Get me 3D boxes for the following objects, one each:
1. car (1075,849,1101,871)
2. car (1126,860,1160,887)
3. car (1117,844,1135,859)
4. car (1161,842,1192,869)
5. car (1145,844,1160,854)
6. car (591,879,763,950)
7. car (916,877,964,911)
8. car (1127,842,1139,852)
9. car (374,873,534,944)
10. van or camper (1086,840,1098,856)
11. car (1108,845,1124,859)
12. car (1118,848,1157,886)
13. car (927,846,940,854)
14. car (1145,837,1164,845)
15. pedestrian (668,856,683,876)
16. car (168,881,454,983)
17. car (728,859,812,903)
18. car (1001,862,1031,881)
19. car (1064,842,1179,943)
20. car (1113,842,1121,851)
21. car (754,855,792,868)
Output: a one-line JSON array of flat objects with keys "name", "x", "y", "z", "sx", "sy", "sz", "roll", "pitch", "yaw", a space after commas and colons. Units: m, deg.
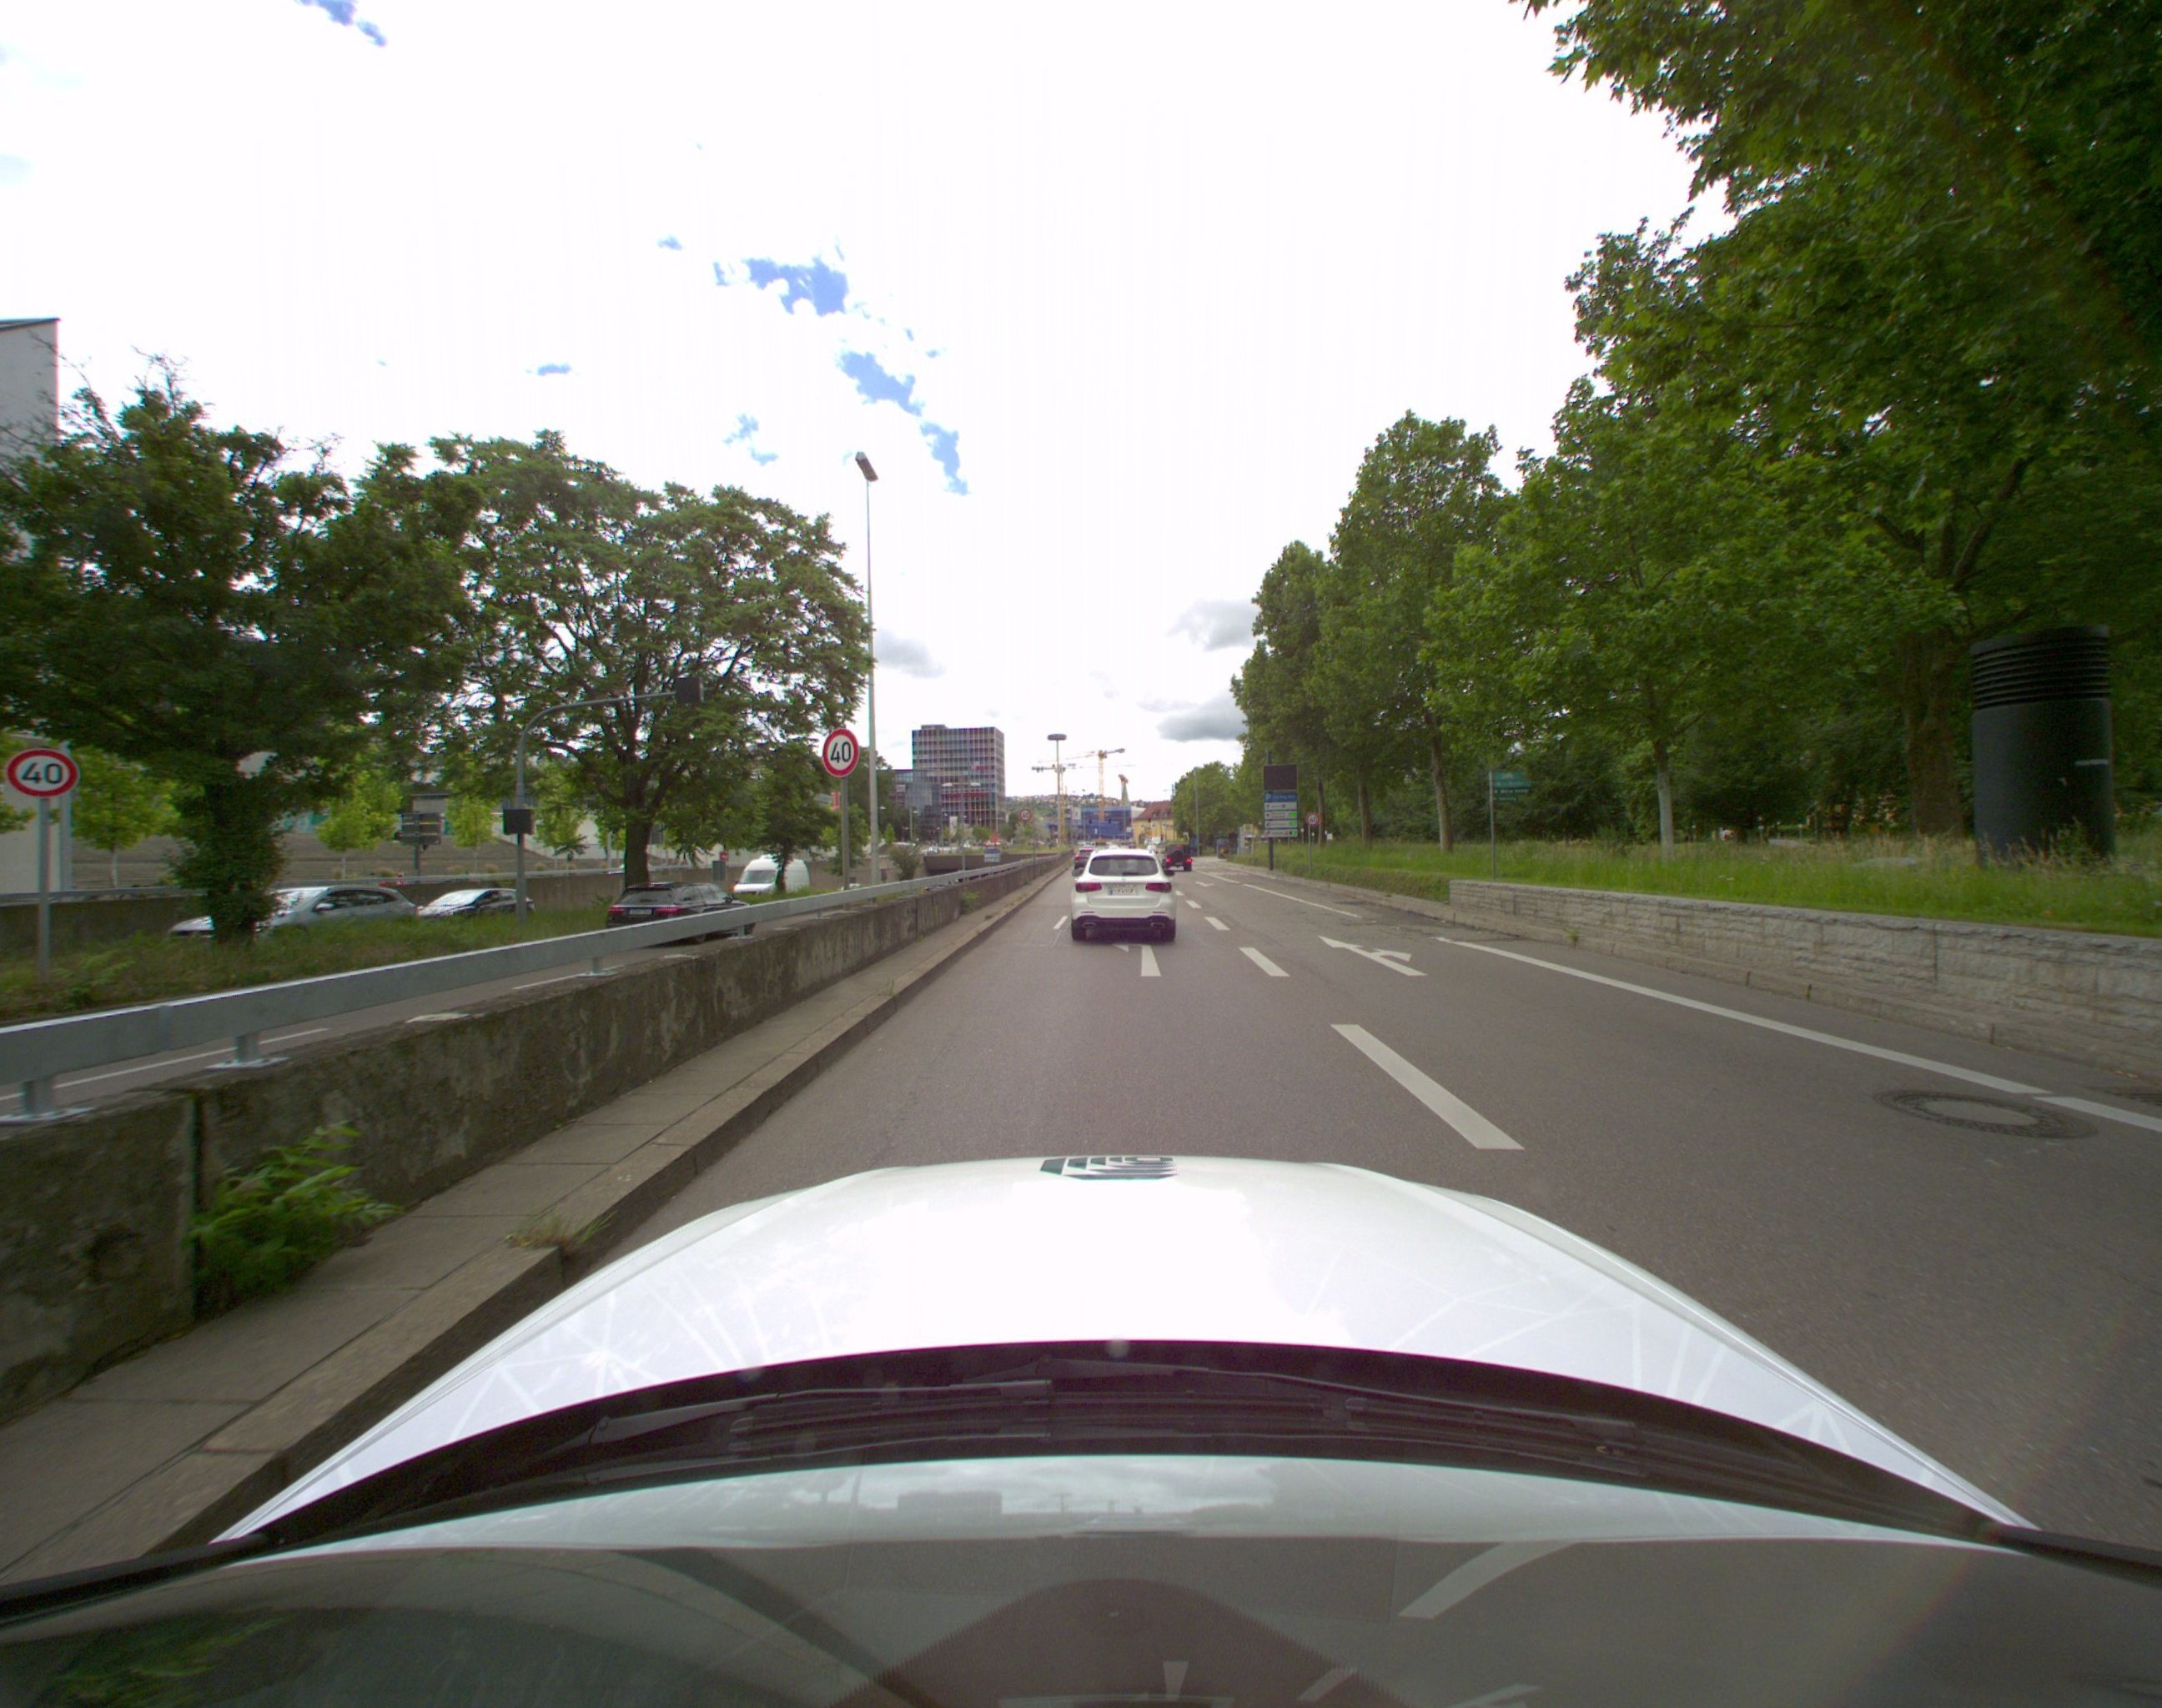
[{"name": "car", "x": 0.530, "y": 0.415, "z": 61.269, "sx": 1.916, "sy": 1.602, "sz": 4.000, "roll": 0, "pitch": 0, "yaw": 1}, {"name": "car", "x": 3.996, "y": 1.242, "z": 52.930, "sx": 1.916, "sy": 1.602, "sz": 4.000, "roll": 0, "pitch": 0, "yaw": 1}, {"name": "car", "x": 5.294, "y": -0.325, "z": 95.856, "sx": 1.987, "sy": 1.662, "sz": 4.000, "roll": 1, "pitch": -1, "yaw": 1}, {"name": "car", "x": 7.002, "y": 0.118, "z": 59.969, "sx": 1.969, "sy": 1.893, "sz": 4.711, "roll": 1, "pitch": -1, "yaw": 3}, {"name": "car", "x": 12.004, "y": -0.790, "z": 137.577, "sx": 1.989, "sy": 1.618, "sz": 3.995, "roll": 1, "pitch": -1, "yaw": -4}, {"name": "car", "x": -9.899, "y": 1.422, "z": 20.479, "sx": 1.806, "sy": 1.460, "sz": 4.864, "roll": 0, "pitch": -1, "yaw": 1}, {"name": "car", "x": -6.751, "y": 1.908, "z": 39.341, "sx": 1.621, "sy": 1.509, "sz": 3.540, "roll": 0, "pitch": -1, "yaw": 1}, {"name": "car", "x": 8.782, "y": -1.232, "z": 137.627, "sx": 1.714, "sy": 1.584, "sz": 3.999, "roll": 1, "pitch": 0, "yaw": -1}, {"name": "car", "x": -20.028, "y": 1.680, "z": 26.271, "sx": 1.987, "sy": 2.014, "sz": 3.998, "roll": 1, "pitch": -1, "yaw": -1}, {"name": "van or camper", "x": 1.712, "y": -0.944, "z": 130.049, "sx": 1.916, "sy": 2.320, "sz": 4.000, "roll": 0, "pitch": -2, "yaw": 1}, {"name": "car", "x": 4.688, "y": -0.261, "z": 109.913, "sx": 1.987, "sy": 1.781, "sz": 4.000, "roll": 1, "pitch": -1, "yaw": 1}, {"name": "car", "x": 2.599, "y": 0.587, "z": 38.012, "sx": 1.666, "sy": 1.627, "sz": 4.002, "roll": 1, "pitch": 0, "yaw": 2}, {"name": "car", "x": -26.131, "y": -0.755, "z": 144.271, "sx": 1.829, "sy": 1.360, "sz": 3.862, "roll": 1, "pitch": -1, "yaw": -4}, {"name": "car", "x": 21.804, "y": -3.831, "z": 241.885, "sx": 5.221, "sy": 2.060, "sz": 1.885, "roll": 1, "pitch": -1, "yaw": 38}, {"name": "pedestrian", "x": -35.269, "y": 1.037, "z": 70.868, "sx": 0.732, "sy": 1.640, "sz": 1.005, "roll": -1, "pitch": 0, "yaw": 0}, {"name": "car", "x": -16.408, "y": 1.565, "z": 17.763, "sx": 1.850, "sy": 1.717, "sz": 4.448, "roll": -2, "pitch": 0, "yaw": 2}, {"name": "car", "x": -16.351, "y": 1.362, "z": 43.271, "sx": 1.968, "sy": 2.165, "sz": 6.214, "roll": 0, "pitch": -1, "yaw": 1}, {"name": "car", "x": -4.860, "y": 1.299, "z": 61.344, "sx": 1.712, "sy": 1.292, "sz": 4.004, "roll": 1, "pitch": 0, "yaw": 3}, {"name": "car", "x": 0.732, "y": 0.669, "z": 15.687, "sx": 1.933, "sy": 1.684, "sz": 4.001, "roll": 0, "pitch": -1, "yaw": 1}, {"name": "car", "x": 8.923, "y": -1.882, "z": 202.971, "sx": 1.794, "sy": 2.014, "sz": 4.000, "roll": 1, "pitch": -1, "yaw": 1}, {"name": "car", "x": -29.321, "y": 0.726, "z": 77.683, "sx": 1.803, "sy": 1.119, "sz": 4.807, "roll": 1, "pitch": -1, "yaw": 0}]
